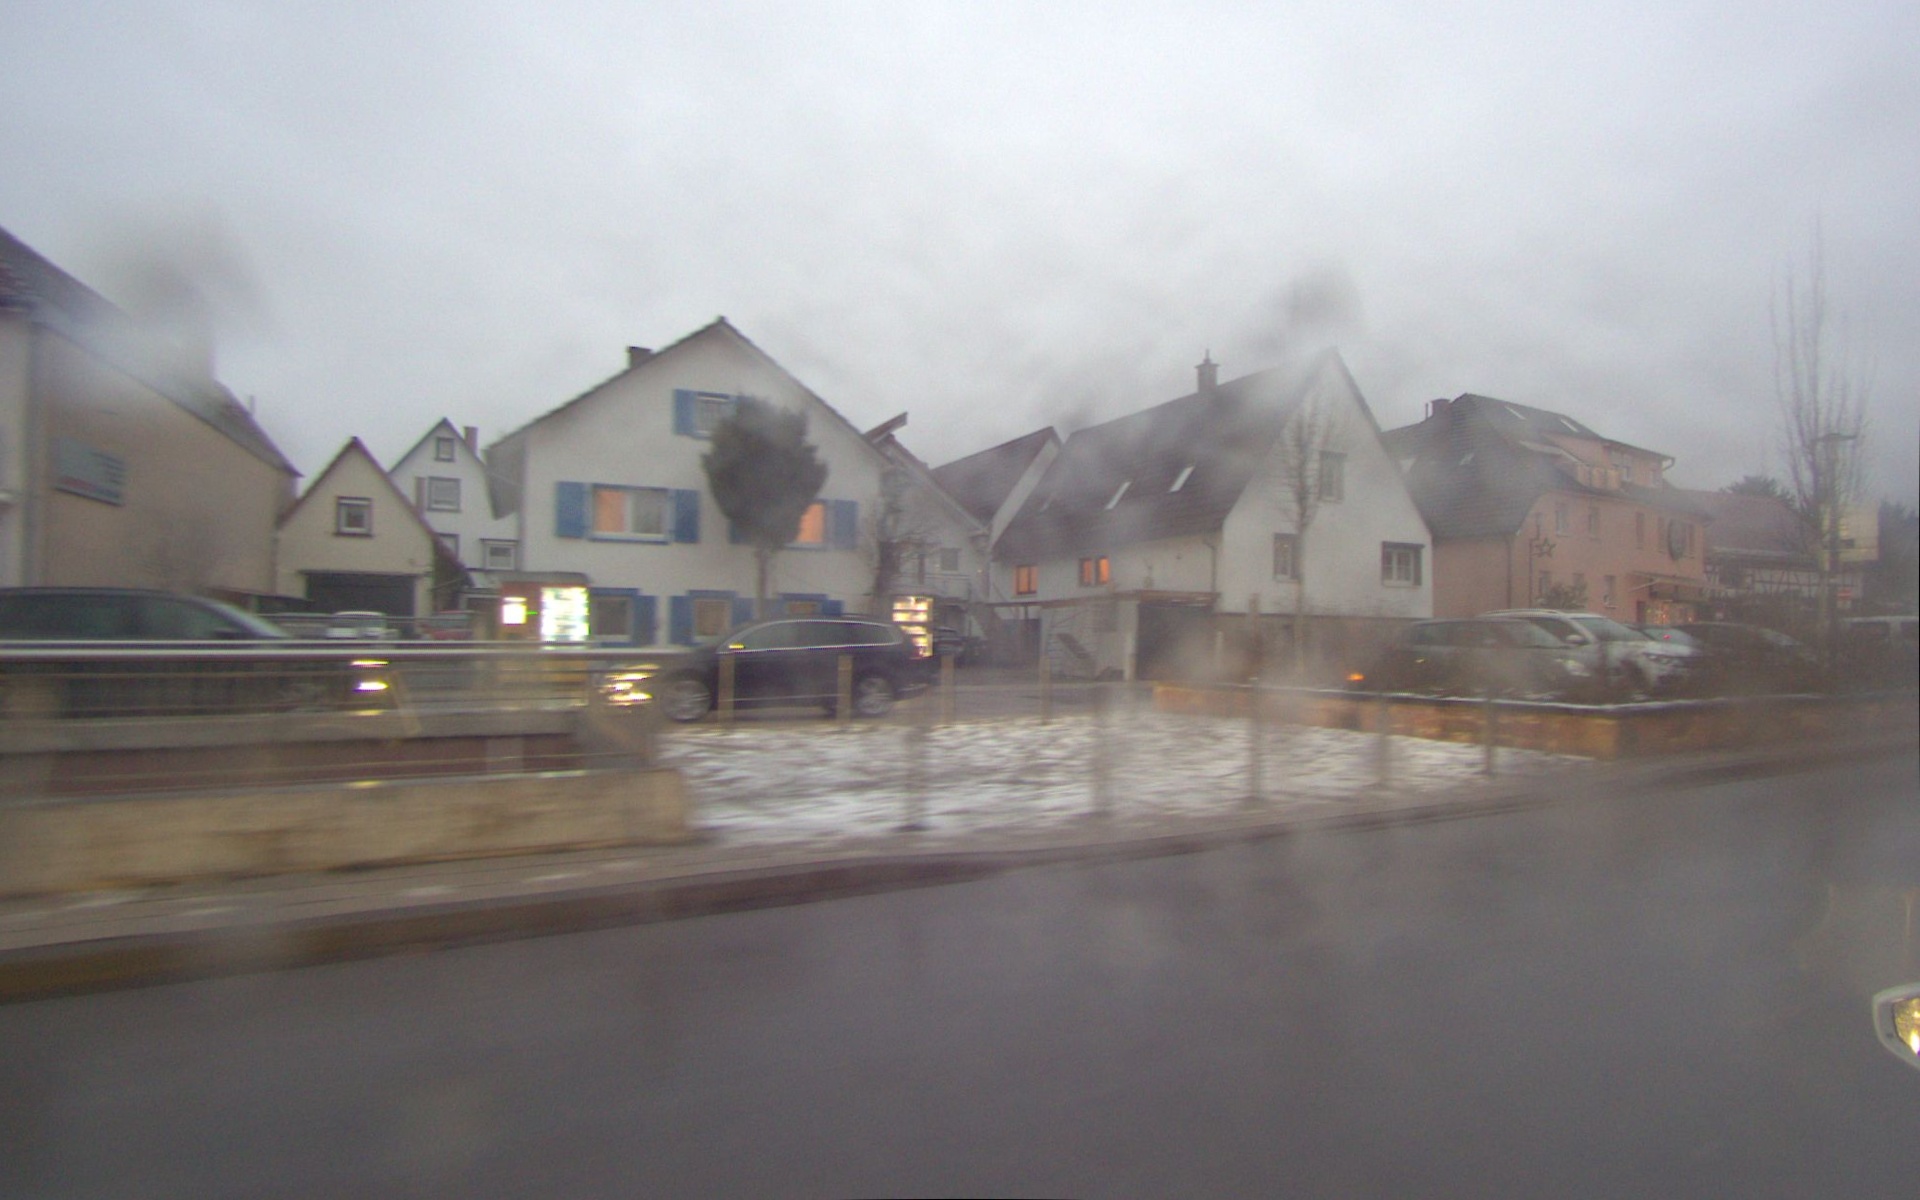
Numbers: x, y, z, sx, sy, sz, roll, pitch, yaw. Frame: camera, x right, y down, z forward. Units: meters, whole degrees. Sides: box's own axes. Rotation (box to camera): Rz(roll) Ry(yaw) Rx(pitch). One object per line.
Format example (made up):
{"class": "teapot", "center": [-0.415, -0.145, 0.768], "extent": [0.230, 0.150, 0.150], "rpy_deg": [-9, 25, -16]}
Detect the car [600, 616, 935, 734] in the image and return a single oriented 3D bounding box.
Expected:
{"class": "car", "center": [-2.774, 1.023, 14.691], "extent": [4.515, 1.502, 1.795], "rpy_deg": [0, -3, -28]}

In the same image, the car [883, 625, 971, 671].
{"class": "car", "center": [-1.254, 1.676, 35.923], "extent": [1.891, 1.516, 3.922], "rpy_deg": [2, -2, -22]}

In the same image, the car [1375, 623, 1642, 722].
{"class": "car", "center": [8.592, 1.072, 15.996], "extent": [1.582, 1.390, 3.428], "rpy_deg": [1, -2, -30]}

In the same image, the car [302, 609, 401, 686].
{"class": "car", "center": [-17.159, 1.362, 28.490], "extent": [1.810, 2.045, 3.565], "rpy_deg": [0, -3, -22]}

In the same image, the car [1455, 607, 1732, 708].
{"class": "car", "center": [10.831, 0.926, 17.473], "extent": [1.690, 1.543, 3.785], "rpy_deg": [2, -1, -23]}

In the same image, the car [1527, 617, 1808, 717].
{"class": "car", "center": [13.105, 1.166, 18.893], "extent": [1.567, 1.629, 4.079], "rpy_deg": [2, -1, -26]}

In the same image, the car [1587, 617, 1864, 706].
{"class": "car", "center": [15.501, 1.207, 20.600], "extent": [1.856, 1.517, 4.112], "rpy_deg": [4, -1, -27]}

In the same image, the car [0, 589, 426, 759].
{"class": "car", "center": [-8.794, 0.813, 11.602], "extent": [4.502, 1.723, 1.751], "rpy_deg": [1, -3, -25]}

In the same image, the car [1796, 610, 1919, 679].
{"class": "car", "center": [24.692, 1.149, 25.799], "extent": [1.978, 1.689, 4.600], "rpy_deg": [2, -1, -32]}

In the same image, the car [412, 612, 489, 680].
{"class": "car", "center": [-14.831, 1.362, 29.394], "extent": [1.651, 1.865, 3.647], "rpy_deg": [0, -3, -22]}
